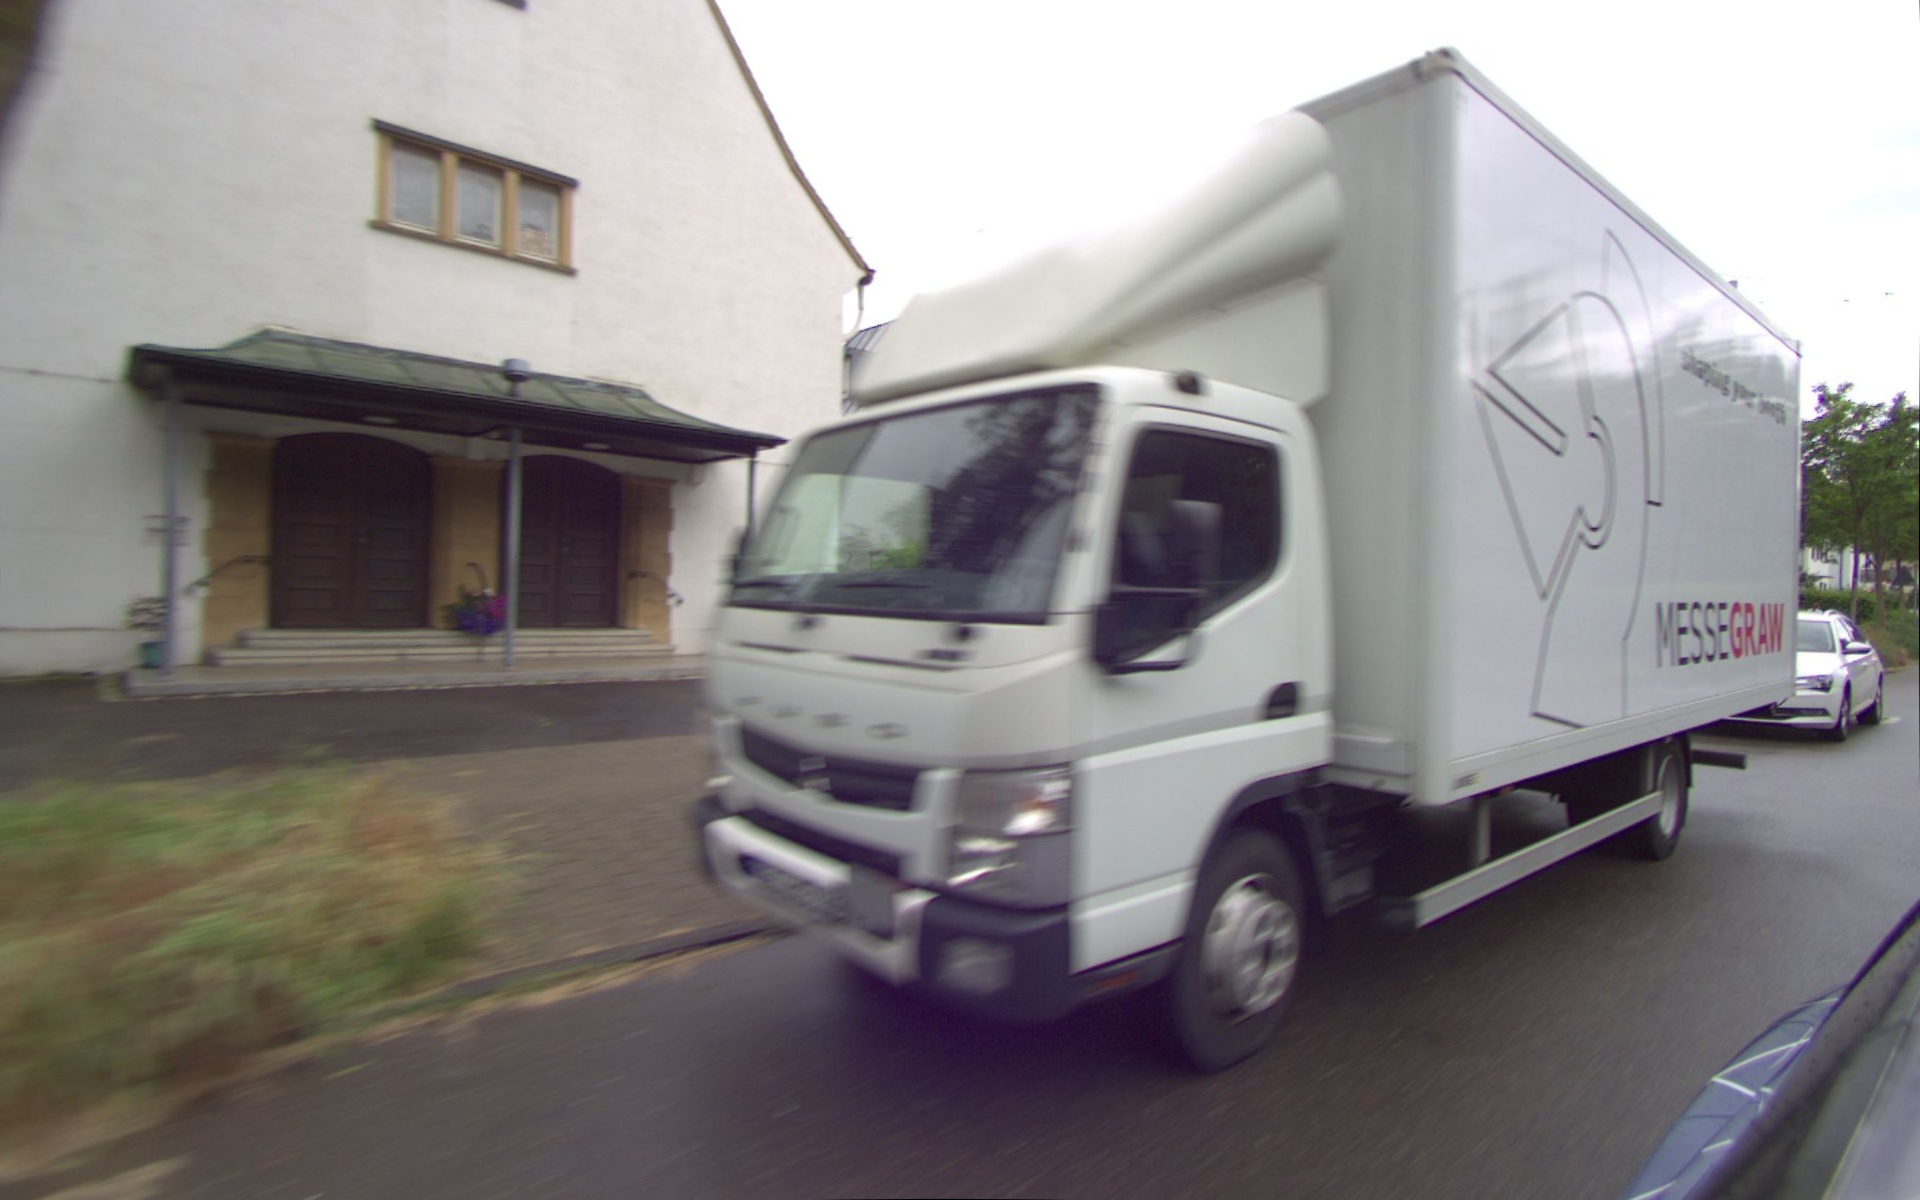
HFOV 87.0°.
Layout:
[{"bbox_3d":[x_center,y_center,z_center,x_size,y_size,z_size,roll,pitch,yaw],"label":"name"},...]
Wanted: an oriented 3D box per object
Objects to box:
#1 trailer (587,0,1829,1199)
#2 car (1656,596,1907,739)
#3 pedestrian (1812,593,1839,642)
[{"bbox_3d":[2.421,-0.410,5.774,8.103,3.553,2.738,1,-1,-41],"label":"trailer"},{"bbox_3d":[10.504,0.722,12.817,4.470,1.493,1.798,1,0,-42],"label":"car"},{"bbox_3d":[31.826,0.626,37.217,0.701,1.753,0.635,-1,1,-39],"label":"pedestrian"}]
